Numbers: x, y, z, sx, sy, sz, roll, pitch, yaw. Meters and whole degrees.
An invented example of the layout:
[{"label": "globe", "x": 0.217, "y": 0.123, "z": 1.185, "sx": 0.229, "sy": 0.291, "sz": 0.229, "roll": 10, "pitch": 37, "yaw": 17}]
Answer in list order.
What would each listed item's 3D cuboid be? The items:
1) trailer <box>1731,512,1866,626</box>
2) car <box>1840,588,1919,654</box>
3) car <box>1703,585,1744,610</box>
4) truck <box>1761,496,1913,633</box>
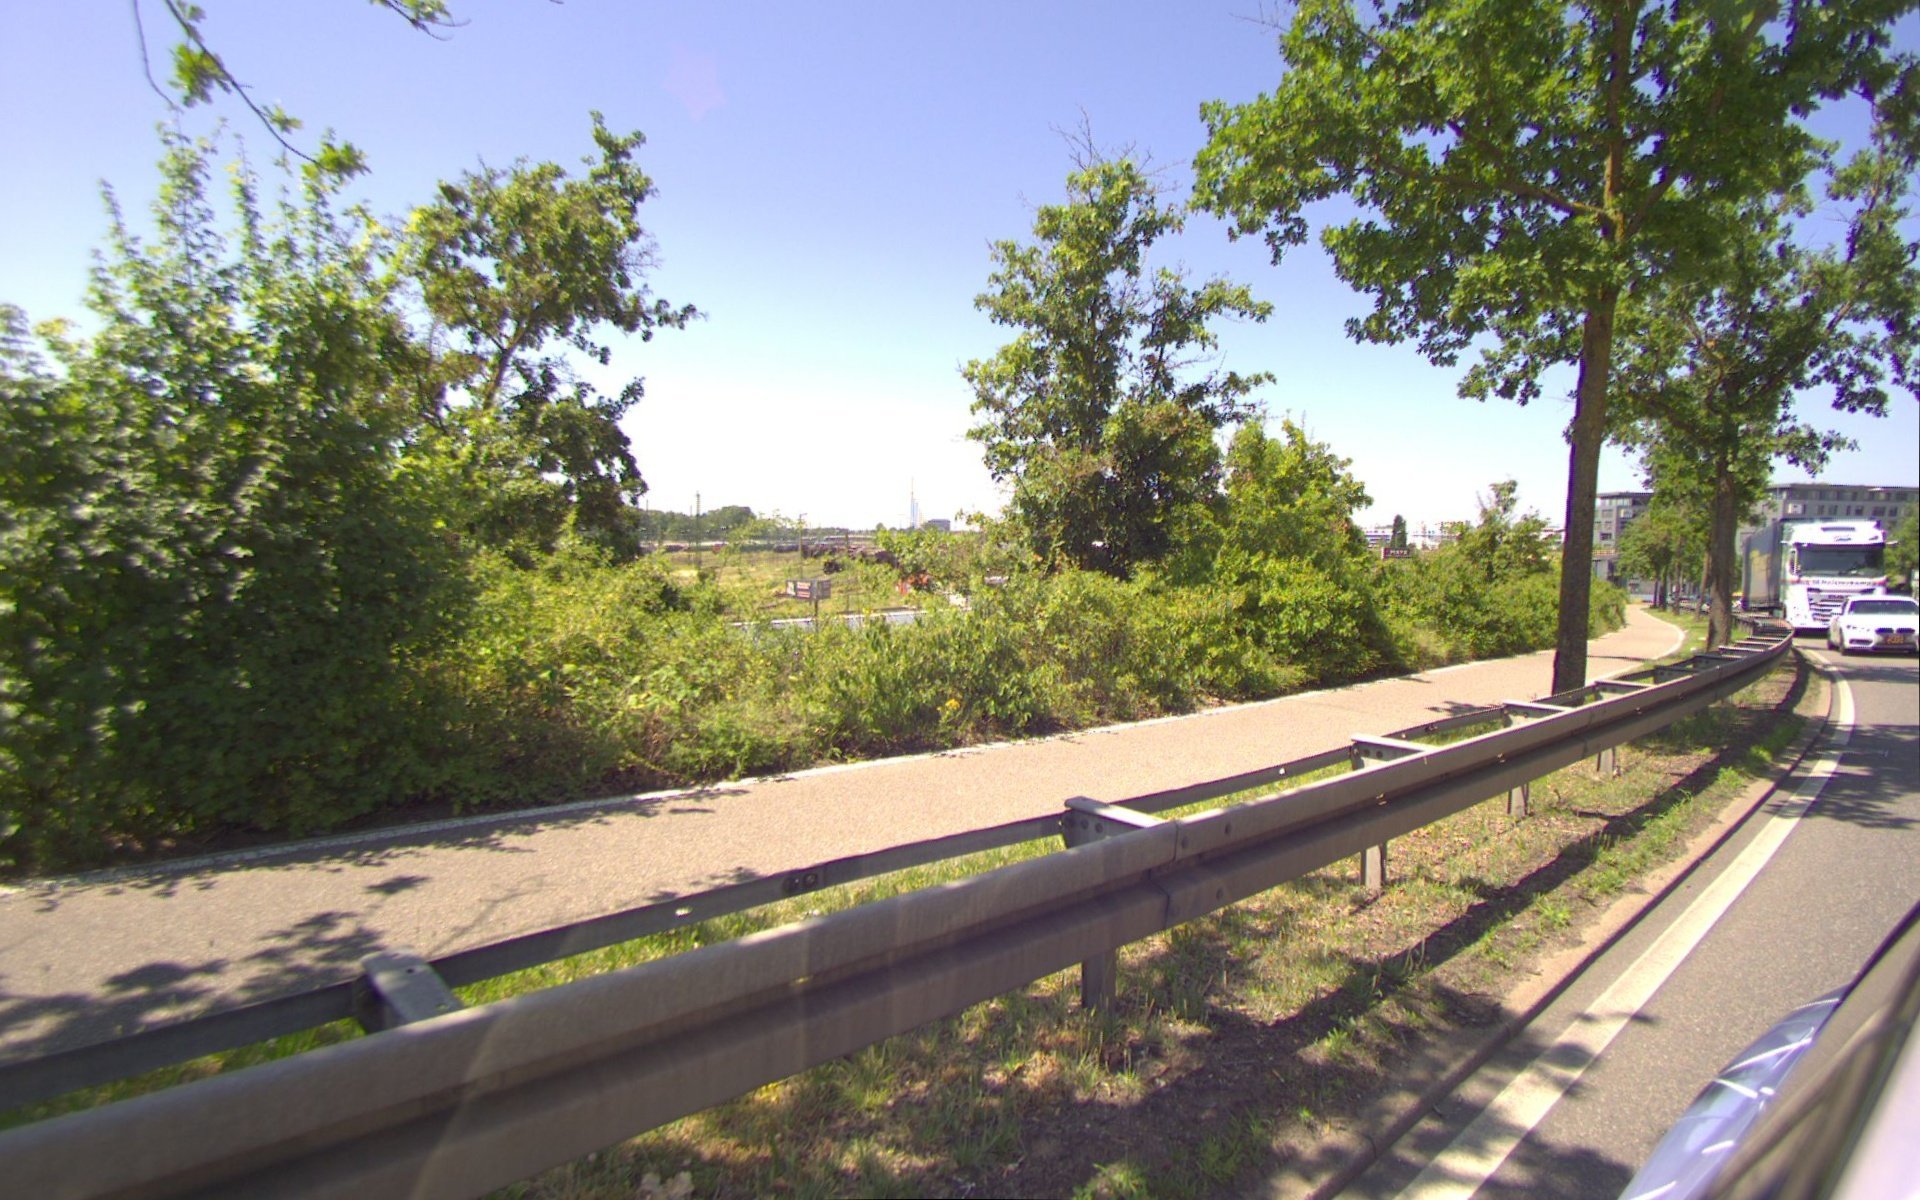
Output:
[{"label": "trailer", "x": 36.436, "y": -1.257, "z": 44.502, "sx": 2.862, "sy": 4.266, "sz": 13.844, "roll": 1, "pitch": 1, "yaw": 33}, {"label": "car", "x": 22.170, "y": 0.453, "z": 24.056, "sx": 1.810, "sy": 1.446, "sz": 3.662, "roll": 1, "pitch": 1, "yaw": 40}, {"label": "car", "x": 49.875, "y": -0.200, "z": 66.176, "sx": 1.964, "sy": 1.596, "sz": 3.950, "roll": 1, "pitch": 1, "yaw": 35}, {"label": "truck", "x": 31.156, "y": -1.189, "z": 36.345, "sx": 2.839, "sy": 4.322, "sz": 8.713, "roll": 1, "pitch": 1, "yaw": 33}]
